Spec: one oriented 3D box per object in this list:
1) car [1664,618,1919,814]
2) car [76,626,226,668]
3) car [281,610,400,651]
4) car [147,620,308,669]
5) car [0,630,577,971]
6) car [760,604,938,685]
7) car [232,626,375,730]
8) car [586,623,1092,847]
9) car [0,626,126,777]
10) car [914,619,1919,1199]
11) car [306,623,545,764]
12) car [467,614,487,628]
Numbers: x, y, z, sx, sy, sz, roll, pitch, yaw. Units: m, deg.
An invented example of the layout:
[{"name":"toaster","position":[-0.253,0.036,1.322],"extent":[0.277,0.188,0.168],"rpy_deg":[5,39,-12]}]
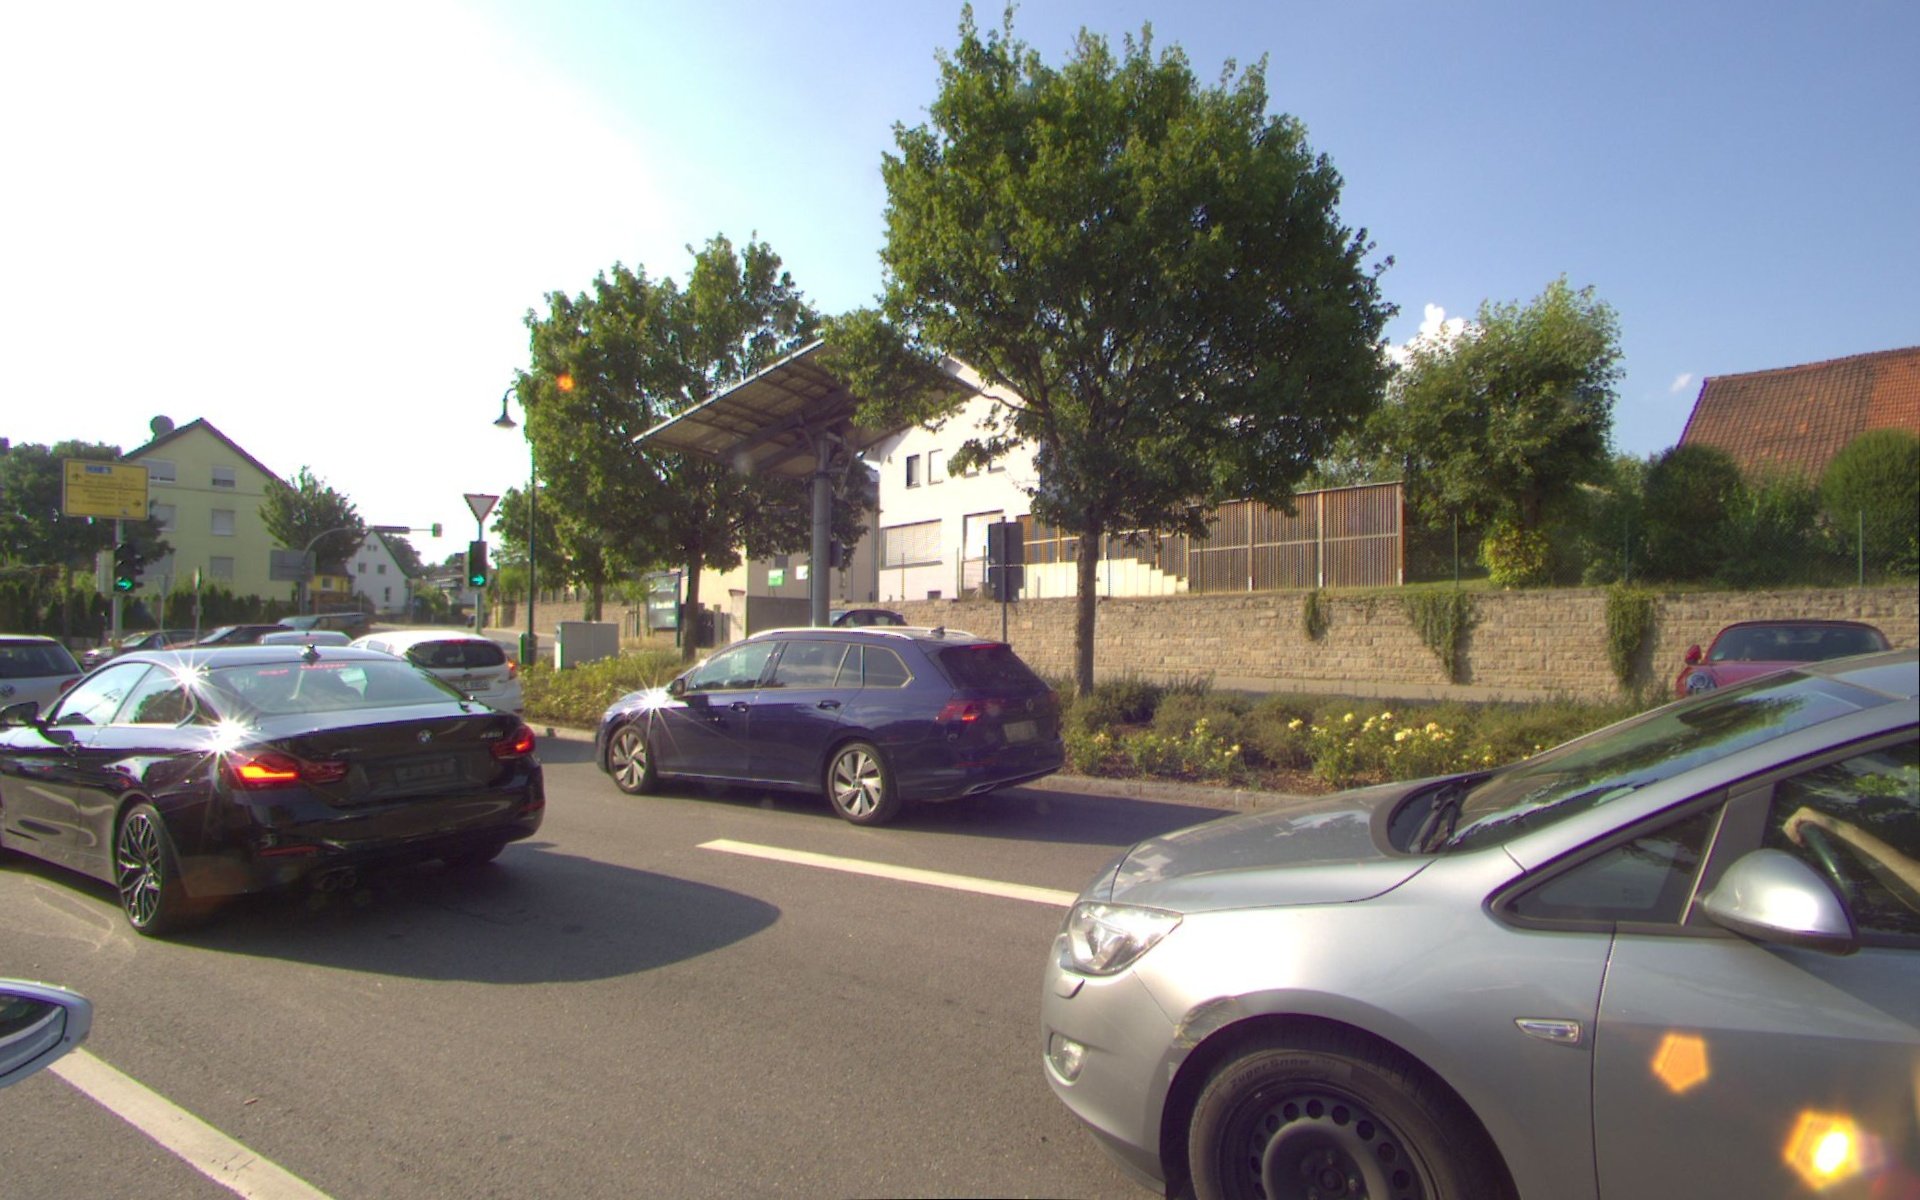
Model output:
[{"name":"car","position":[8.203,0.962,9.765],"extent":[1.758,1.510,4.120],"rpy_deg":[-1,-2,41]},{"name":"car","position":[-30.095,1.725,37.383],"extent":[1.821,1.508,3.983],"rpy_deg":[-1,-2,30]},{"name":"car","position":[-28.012,1.387,45.502],"extent":[1.813,1.761,4.783],"rpy_deg":[0,-2,11]},{"name":"car","position":[-26.510,1.605,36.429],"extent":[1.818,1.662,4.418],"rpy_deg":[0,-2,25]},{"name":"car","position":[-4.457,0.922,6.206],"extent":[4.220,1.416,1.758],"rpy_deg":[-1,0,33]},{"name":"car","position":[-2.400,0.971,22.318],"extent":[1.758,1.653,3.800],"rpy_deg":[-1,-2,40]},{"name":"car","position":[-11.776,1.279,17.834],"extent":[1.643,1.562,4.362],"rpy_deg":[0,0,-40]},{"name":"car","position":[-1.166,0.956,8.672],"extent":[4.259,1.472,1.757],"rpy_deg":[-1,0,34]},{"name":"car","position":[-10.828,1.019,10.799],"extent":[3.848,1.444,1.758],"rpy_deg":[-1,0,33]},{"name":"car","position":[2.152,0.790,2.181],"extent":[4.256,1.472,1.758],"rpy_deg":[-1,0,31]},{"name":"car","position":[-6.940,1.089,12.907],"extent":[3.278,1.562,1.611],"rpy_deg":[-1,0,40]},{"name":"car","position":[-60.545,2.667,125.592],"extent":[1.939,1.701,4.202],"rpy_deg":[0,-1,-23]}]
